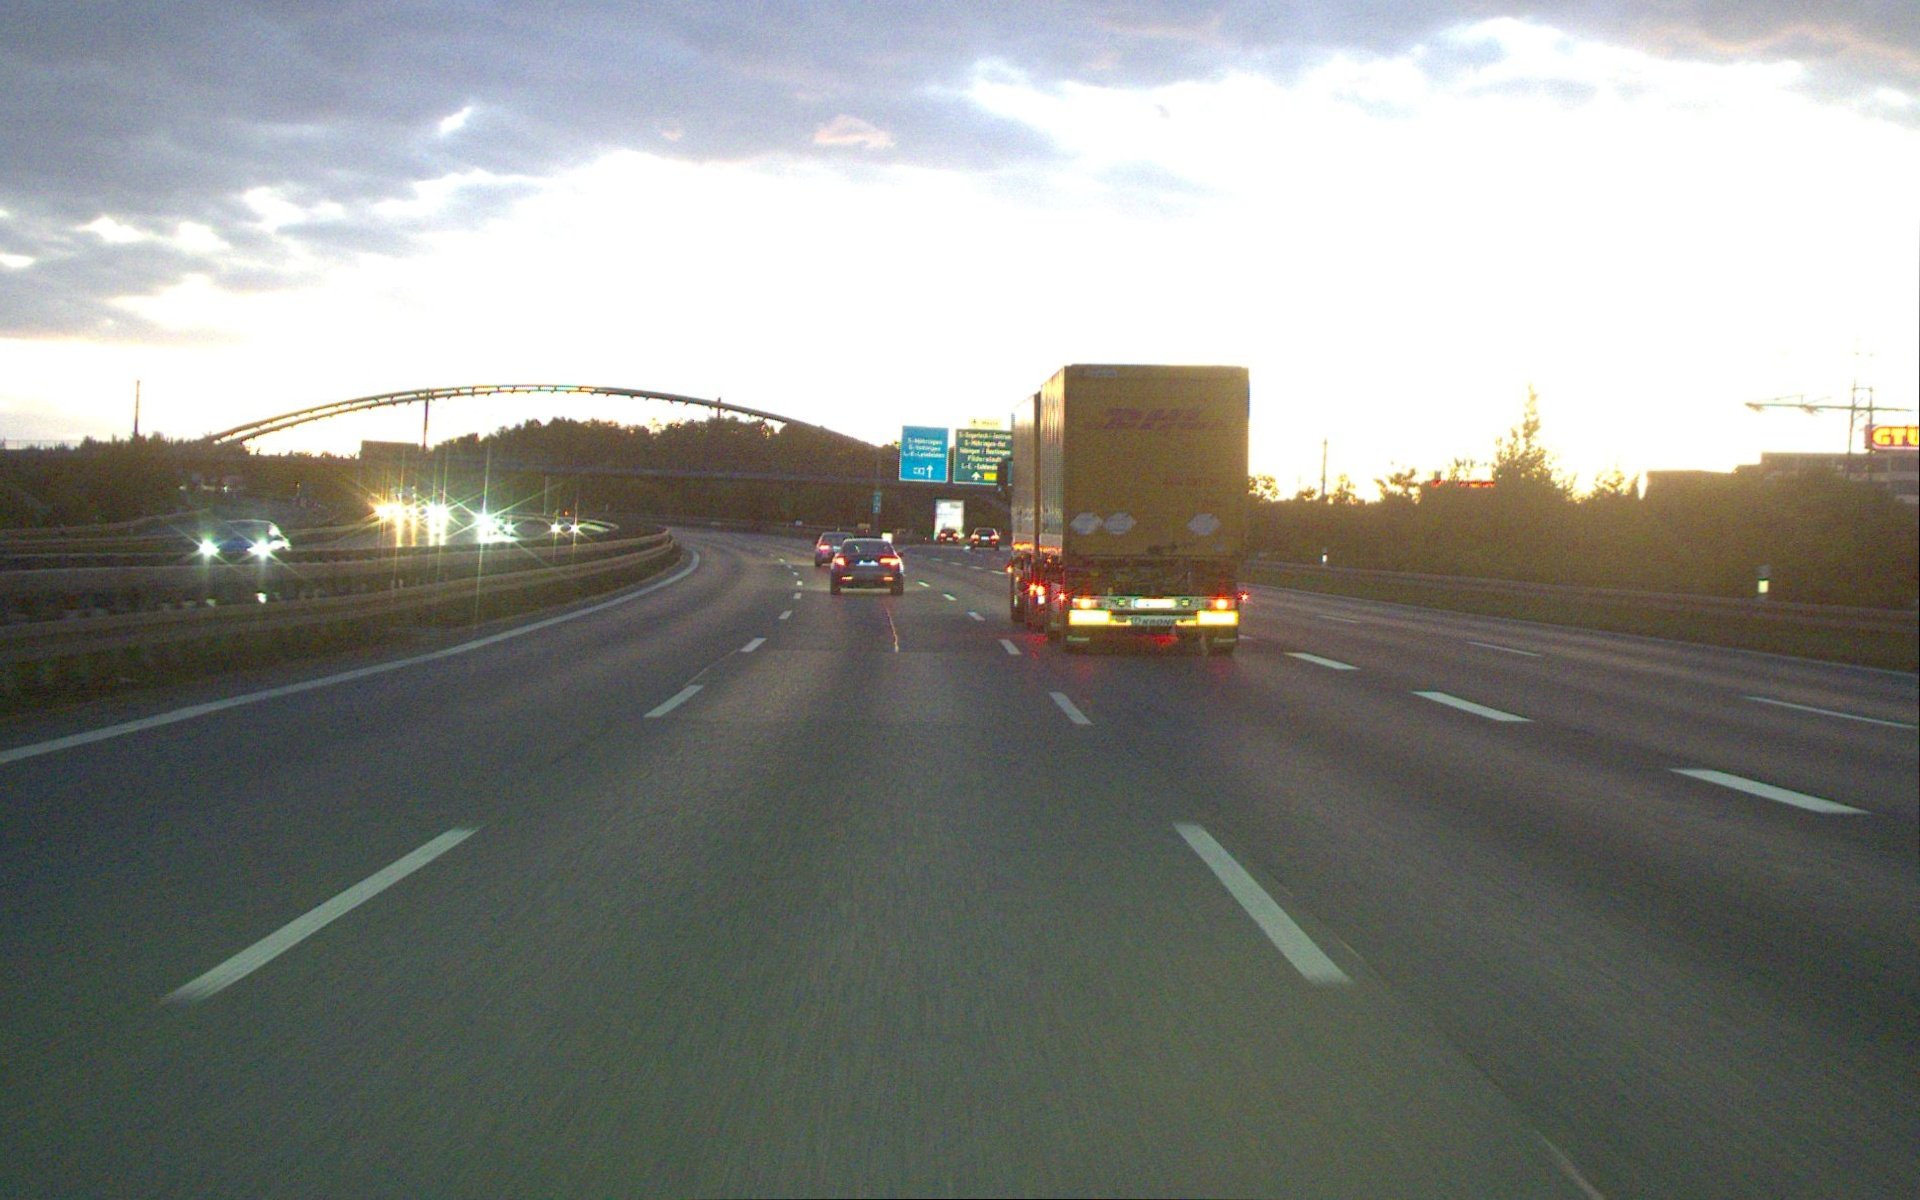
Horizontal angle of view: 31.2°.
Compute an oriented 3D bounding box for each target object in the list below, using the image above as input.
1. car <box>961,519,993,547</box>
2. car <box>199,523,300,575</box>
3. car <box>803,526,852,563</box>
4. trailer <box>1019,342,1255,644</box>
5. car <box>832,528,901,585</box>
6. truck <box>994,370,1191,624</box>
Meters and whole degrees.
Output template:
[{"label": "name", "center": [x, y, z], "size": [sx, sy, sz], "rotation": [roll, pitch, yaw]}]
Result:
[{"label": "car", "center": [1.109, -4.477, 229.543], "size": [1.993, 1.711, 4.000], "rotation": [2, 0, -1]}, {"label": "car", "center": [-19.869, -1.452, 96.312], "size": [1.993, 1.353, 4.866], "rotation": [1, 1, -3]}, {"label": "car", "center": [-5.391, -2.252, 140.468], "size": [1.689, 1.397, 3.408], "rotation": [0, 0, 3]}, {"label": "trailer", "center": [2.484, -1.559, 51.098], "size": [2.721, 4.057, 8.832], "rotation": [1, 1, -2]}, {"label": "car", "center": [-2.424, -1.096, 88.606], "size": [1.689, 1.396, 3.409], "rotation": [1, 0, -3]}, {"label": "truck", "center": [2.189, -1.793, 60.759], "size": [2.690, 4.057, 10.521], "rotation": [1, 1, -2]}]
